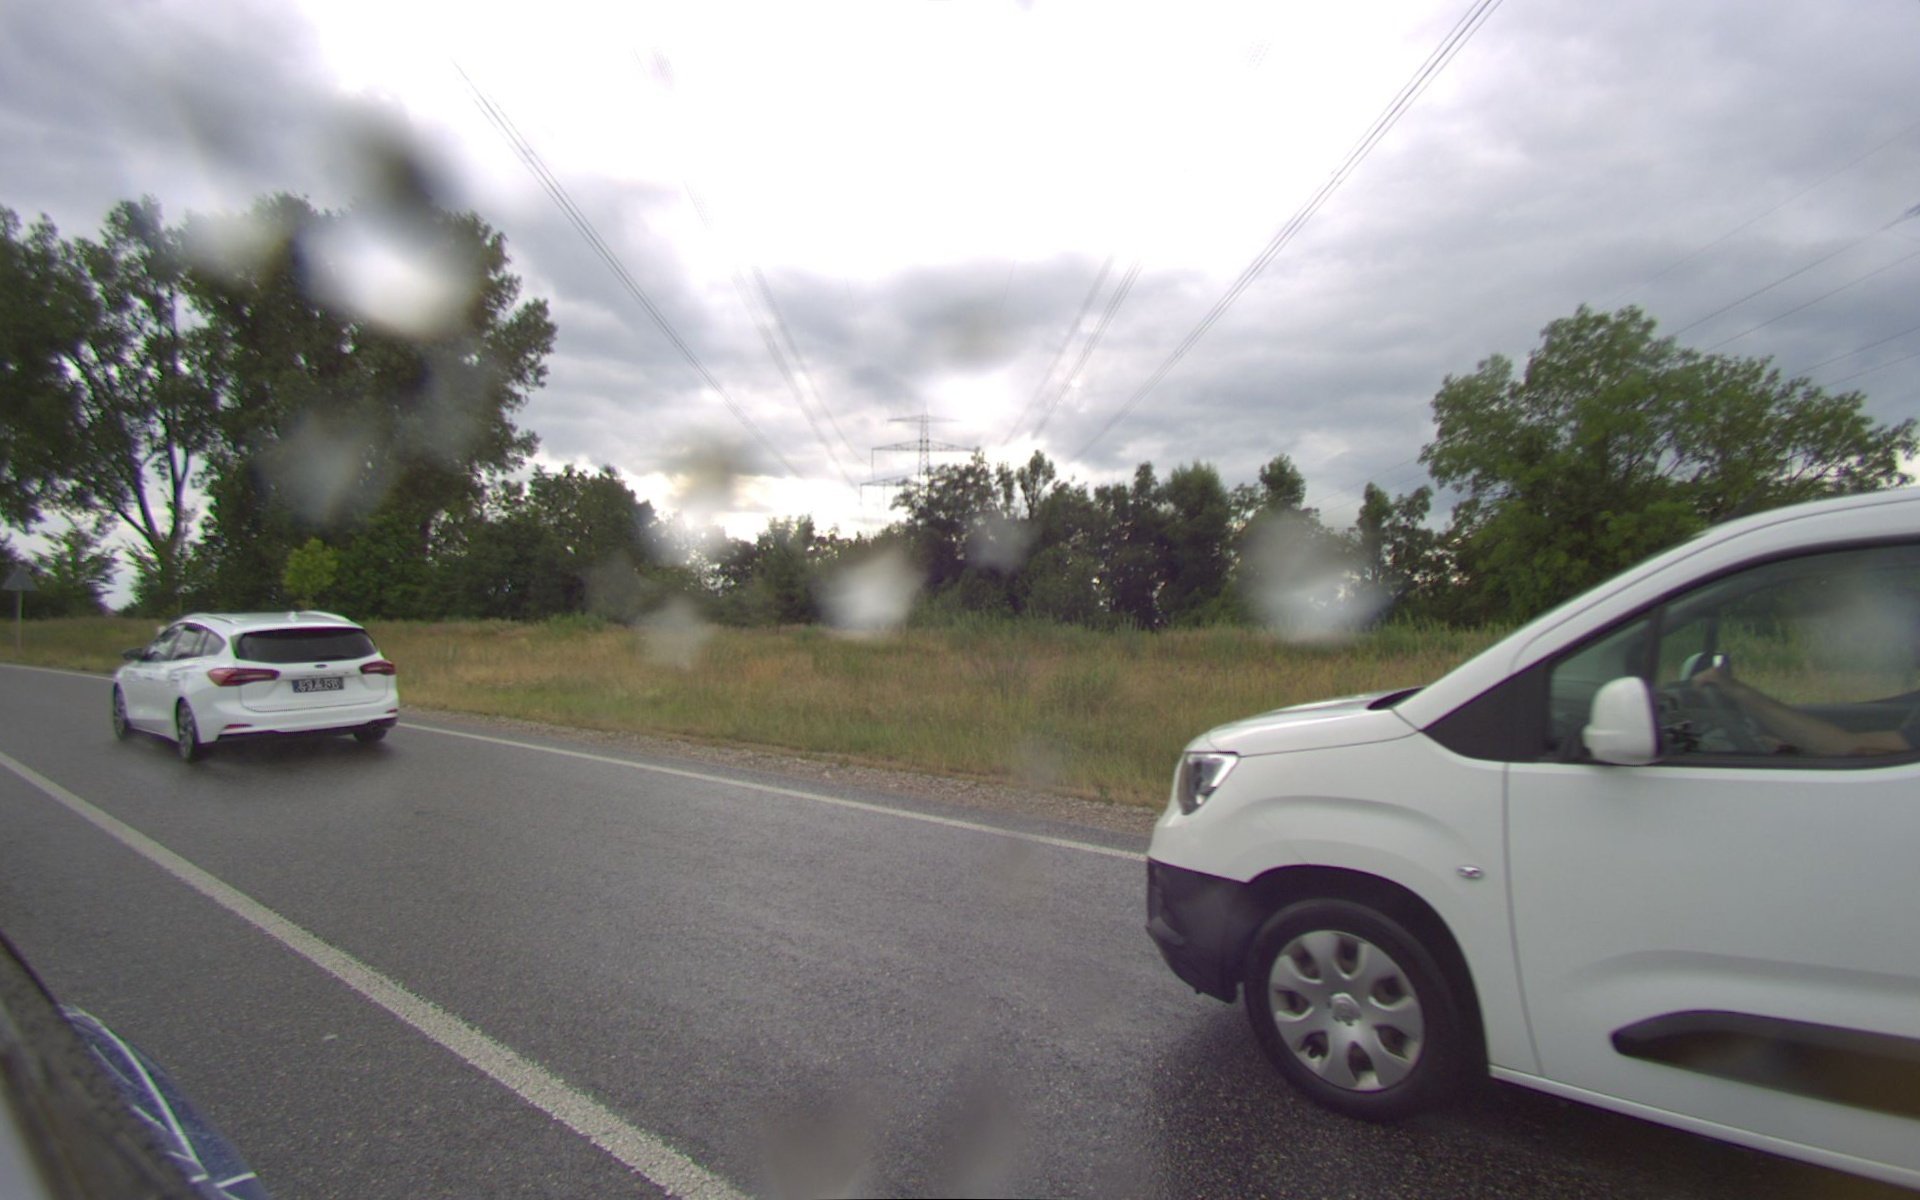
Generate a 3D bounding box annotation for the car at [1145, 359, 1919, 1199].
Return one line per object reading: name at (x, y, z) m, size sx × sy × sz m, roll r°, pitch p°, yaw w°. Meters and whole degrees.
car at (2.854, 0.438, 2.361) m, size 4.445 × 1.869 × 1.825 m, roll -2°, pitch 0°, yaw 42°

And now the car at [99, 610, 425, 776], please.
car at (-7.652, 0.838, 10.945) m, size 4.283 × 1.398 × 1.826 m, roll 0°, pitch 1°, yaw 40°
